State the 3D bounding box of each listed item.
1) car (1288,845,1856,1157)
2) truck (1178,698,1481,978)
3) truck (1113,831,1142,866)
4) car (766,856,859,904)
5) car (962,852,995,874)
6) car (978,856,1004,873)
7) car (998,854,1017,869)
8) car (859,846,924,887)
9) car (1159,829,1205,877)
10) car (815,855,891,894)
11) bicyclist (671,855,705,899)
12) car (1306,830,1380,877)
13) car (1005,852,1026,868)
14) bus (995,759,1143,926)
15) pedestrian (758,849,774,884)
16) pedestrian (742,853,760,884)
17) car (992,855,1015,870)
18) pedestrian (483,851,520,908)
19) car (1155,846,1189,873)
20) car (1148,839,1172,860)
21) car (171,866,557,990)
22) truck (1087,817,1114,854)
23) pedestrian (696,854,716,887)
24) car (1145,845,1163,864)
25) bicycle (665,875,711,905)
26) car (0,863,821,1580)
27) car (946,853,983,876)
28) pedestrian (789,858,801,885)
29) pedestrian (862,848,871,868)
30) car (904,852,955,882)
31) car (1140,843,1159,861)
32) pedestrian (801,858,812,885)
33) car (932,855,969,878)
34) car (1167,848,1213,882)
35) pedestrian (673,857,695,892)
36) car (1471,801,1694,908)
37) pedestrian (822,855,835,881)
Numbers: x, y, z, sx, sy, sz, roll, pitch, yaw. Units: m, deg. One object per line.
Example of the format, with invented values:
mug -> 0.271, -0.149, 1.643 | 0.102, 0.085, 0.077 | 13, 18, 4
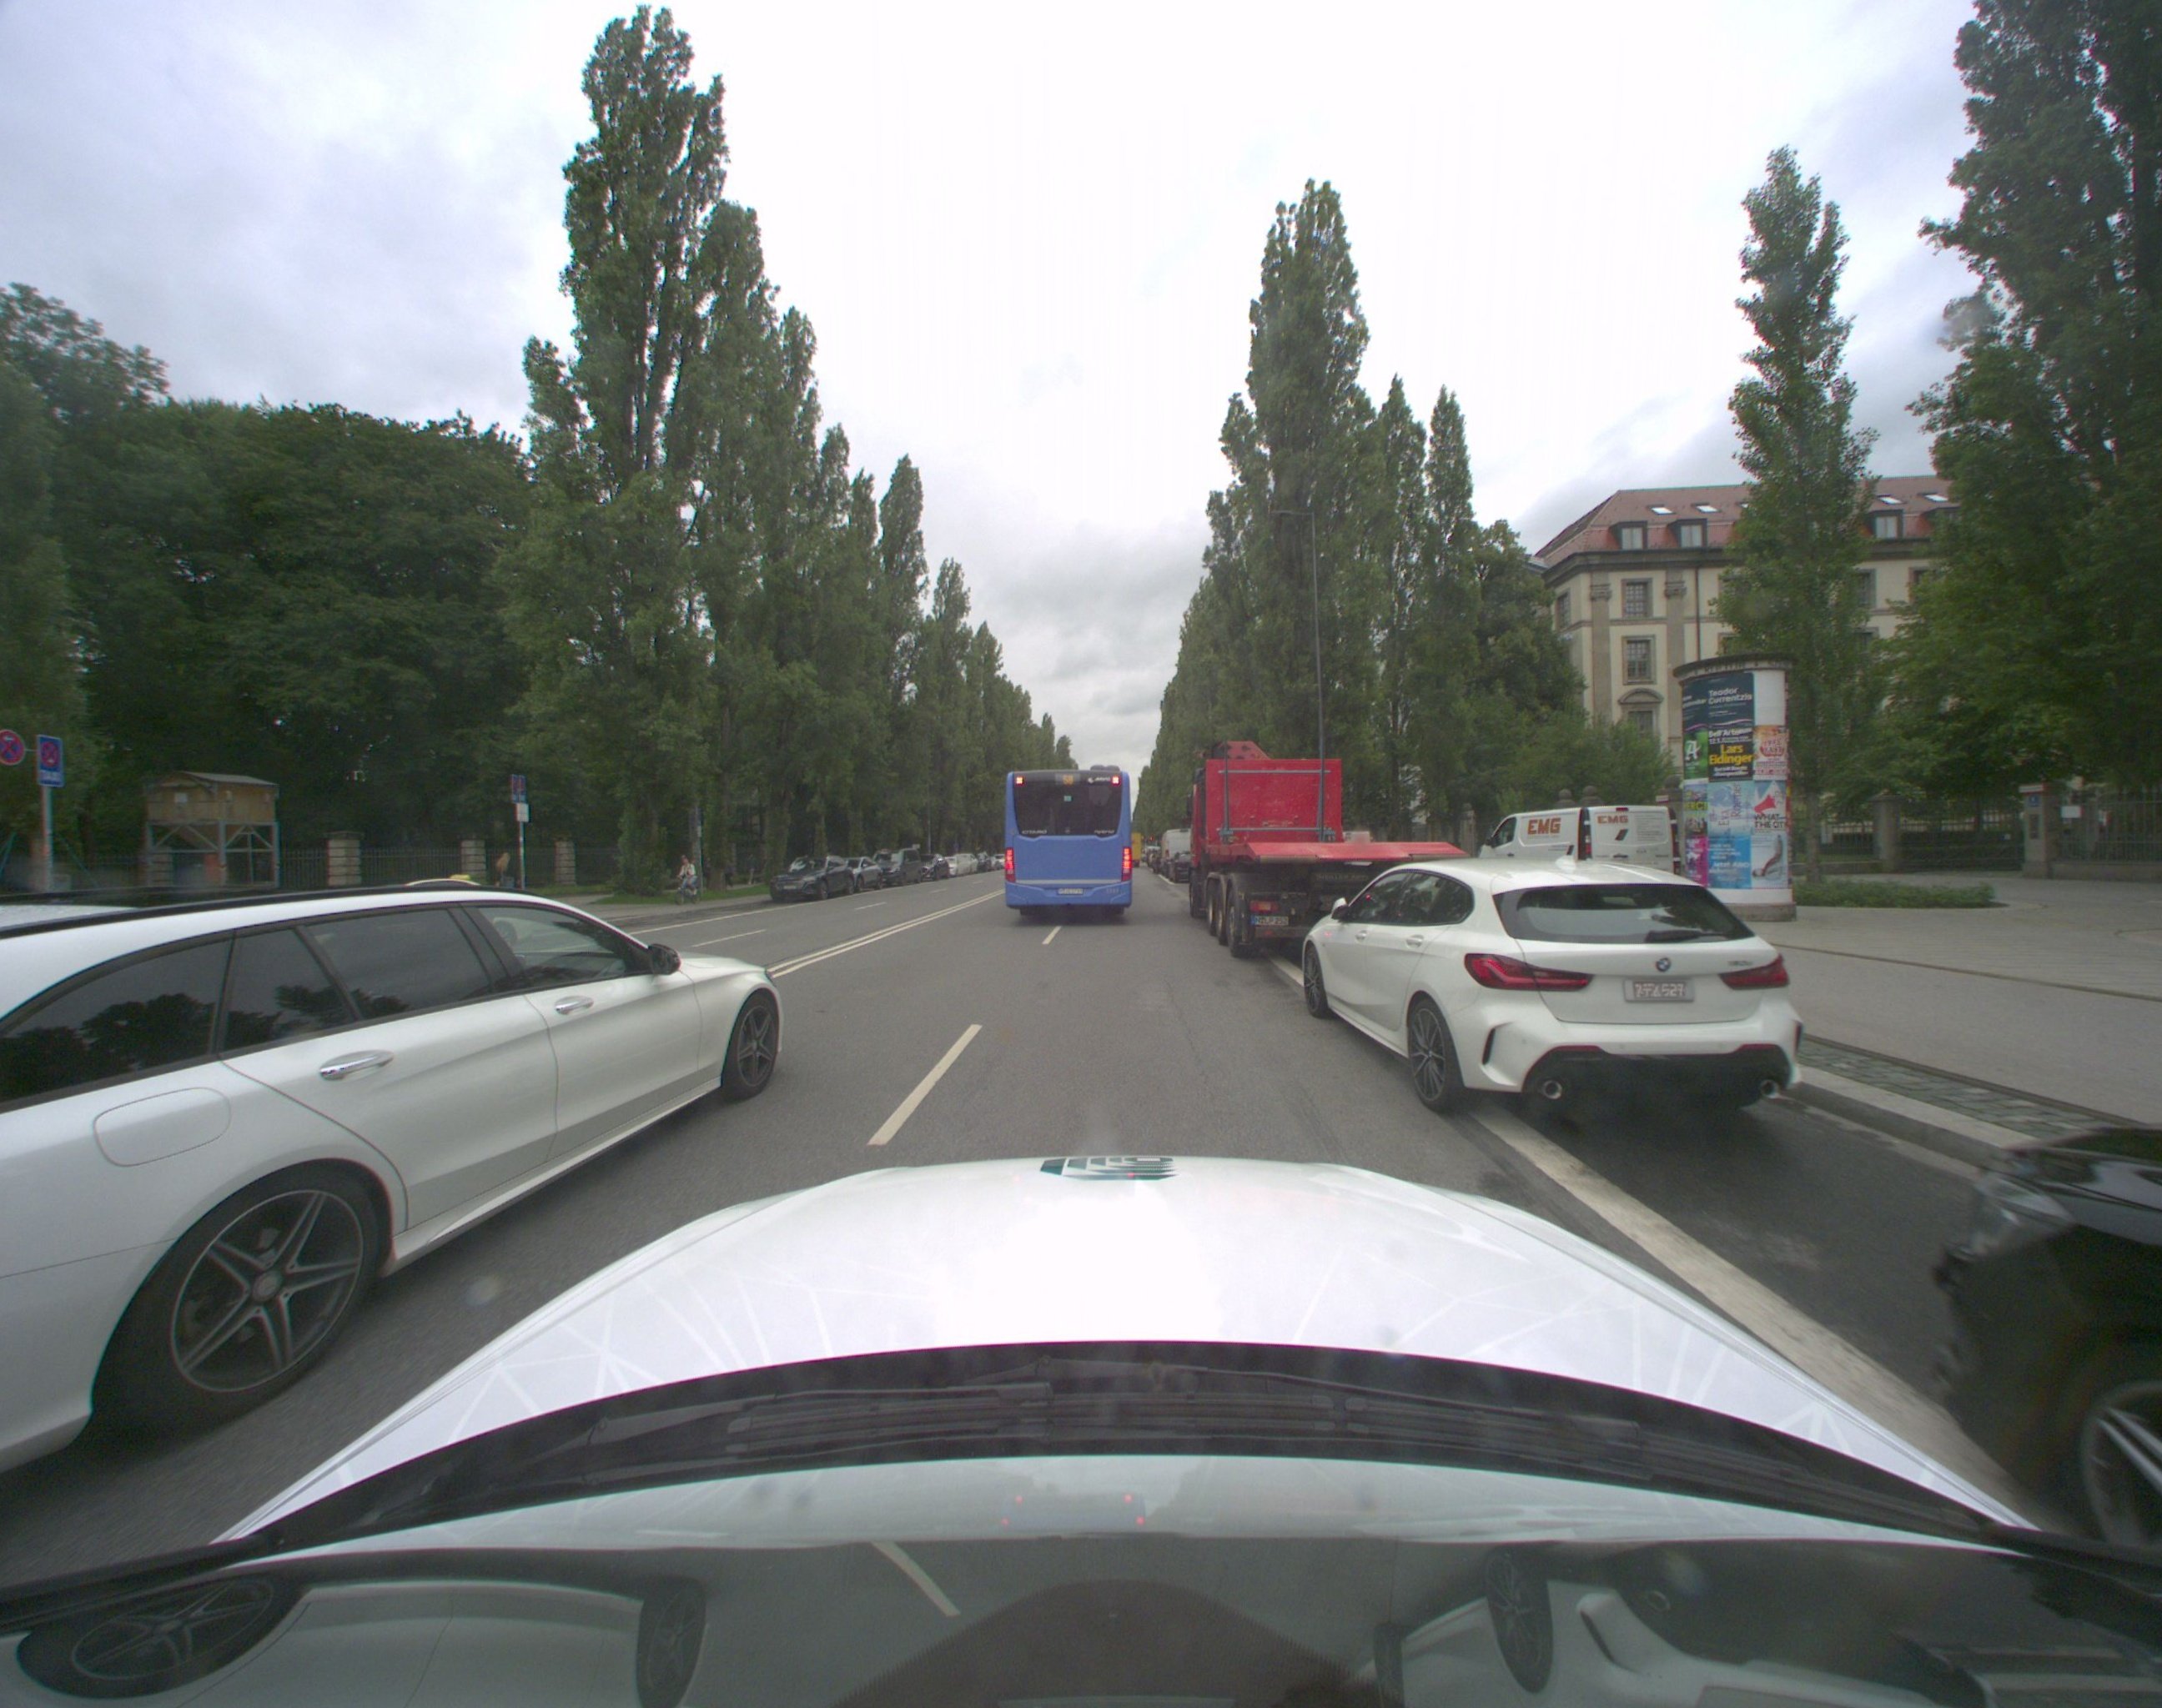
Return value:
car -> 2.838, 0.681, 5.948 | 1.780, 1.460, 4.221 | -1, 0, 3
truck -> 3.430, -0.208, 14.459 | 2.702, 3.110, 10.436 | -2, 0, 3
truck -> 4.011, -0.461, 70.581 | 2.318, 2.898, 7.338 | -1, 0, 3
car -> -10.302, 0.930, 31.645 | 1.775, 1.596, 4.617 | -3, 0, 3
car -> -8.495, 0.696, 67.618 | 1.873, 1.658, 4.720 | -4, 0, 2
car -> -8.072, 0.937, 73.346 | 1.573, 1.304, 4.033 | -3, 0, 4
car -> -7.716, 0.766, 86.162 | 1.739, 1.518, 4.114 | -3, 0, -2
car -> -9.911, 0.615, 43.055 | 1.985, 1.956, 4.941 | -3, 0, 3
car -> 5.469, -0.073, 44.834 | 2.066, 2.479, 6.288 | 0, 0, 3
car -> -10.336, 0.873, 37.246 | 1.883, 1.584, 4.658 | -2, 0, 3
bicyclist -> -13.621, 0.788, 28.213 | 0.691, 1.498, 0.862 | -2, 0, 2
car -> 11.796, -0.011, 37.014 | 1.985, 1.946, 5.088 | -1, 0, 4
car -> -7.256, 0.658, 91.125 | 1.807, 1.643, 4.003 | -1, 0, 2
bus -> -0.175, -0.252, 20.350 | 2.846, 3.213, 9.060 | -1, 0, 1
pedestrian -> -18.778, 0.742, 48.605 | 0.663, 2.013, 0.639 | -1, 0, 2
pedestrian -> -19.628, 0.855, 48.440 | 0.743, 1.854, 0.758 | -1, 0, 3
car -> -7.713, 0.845, 81.199 | 1.679, 1.413, 4.006 | -3, 0, 2
pedestrian -> -18.035, 0.777, 25.358 | 0.580, 1.720, 0.787 | -1, 0, 2
car -> 5.604, 0.328, 50.691 | 1.813, 1.590, 4.226 | 0, 0, 3
car -> 6.388, -0.349, 66.128 | 1.774, 1.581, 4.149 | 1, 0, 3
car -> -11.404, 1.055, 13.587 | 1.922, 1.497, 4.796 | -2, 1, 4
truck -> 2.177, -1.990, 91.840 | 2.706, 3.965, 9.219 | -1, 0, 1
pedestrian -> -19.871, 0.856, 43.152 | 0.664, 1.722, 0.734 | -1, 0, 4
car -> 7.851, 0.062, 88.205 | 1.798, 1.976, 4.240 | -1, 0, 4
bicycle -> -13.602, 1.227, 28.218 | 0.705, 0.939, 1.736 | -1, 0, 2
car -> -2.989, 0.796, 3.590 | 1.816, 1.454, 4.590 | 0, 0, 6
car -> -8.767, 0.753, 61.776 | 1.777, 1.588, 4.466 | -3, 0, 4
pedestrian -> -18.288, 1.124, 52.080 | 0.506, 1.707, 0.570 | -1, 0, 4
pedestrian -> -18.112, 0.335, 68.811 | 0.547, 1.747, 0.673 | -1, 0, 2
car -> -9.220, 0.749, 49.918 | 1.808, 1.609, 5.057 | -4, 0, 3
car -> 8.096, -0.288, 96.157 | 2.044, 2.013, 5.698 | -1, 0, 4
pedestrian -> -17.594, 1.119, 52.187 | 0.506, 1.707, 0.570 | -1, 0, 4
car -> -9.039, 0.847, 56.662 | 1.669, 1.422, 4.240 | -3, 0, 3
car -> 4.925, 0.466, 37.352 | 1.747, 1.450, 4.003 | 1, 0, 3
pedestrian -> -18.958, 0.957, 38.904 | 0.615, 1.659, 0.705 | -1, 0, 4
car -> 10.332, -0.015, 17.328 | 1.873, 1.944, 4.887 | 0, 0, 2
pedestrian -> -17.504, 0.945, 56.485 | 0.606, 1.757, 0.757 | -1, 0, 2
